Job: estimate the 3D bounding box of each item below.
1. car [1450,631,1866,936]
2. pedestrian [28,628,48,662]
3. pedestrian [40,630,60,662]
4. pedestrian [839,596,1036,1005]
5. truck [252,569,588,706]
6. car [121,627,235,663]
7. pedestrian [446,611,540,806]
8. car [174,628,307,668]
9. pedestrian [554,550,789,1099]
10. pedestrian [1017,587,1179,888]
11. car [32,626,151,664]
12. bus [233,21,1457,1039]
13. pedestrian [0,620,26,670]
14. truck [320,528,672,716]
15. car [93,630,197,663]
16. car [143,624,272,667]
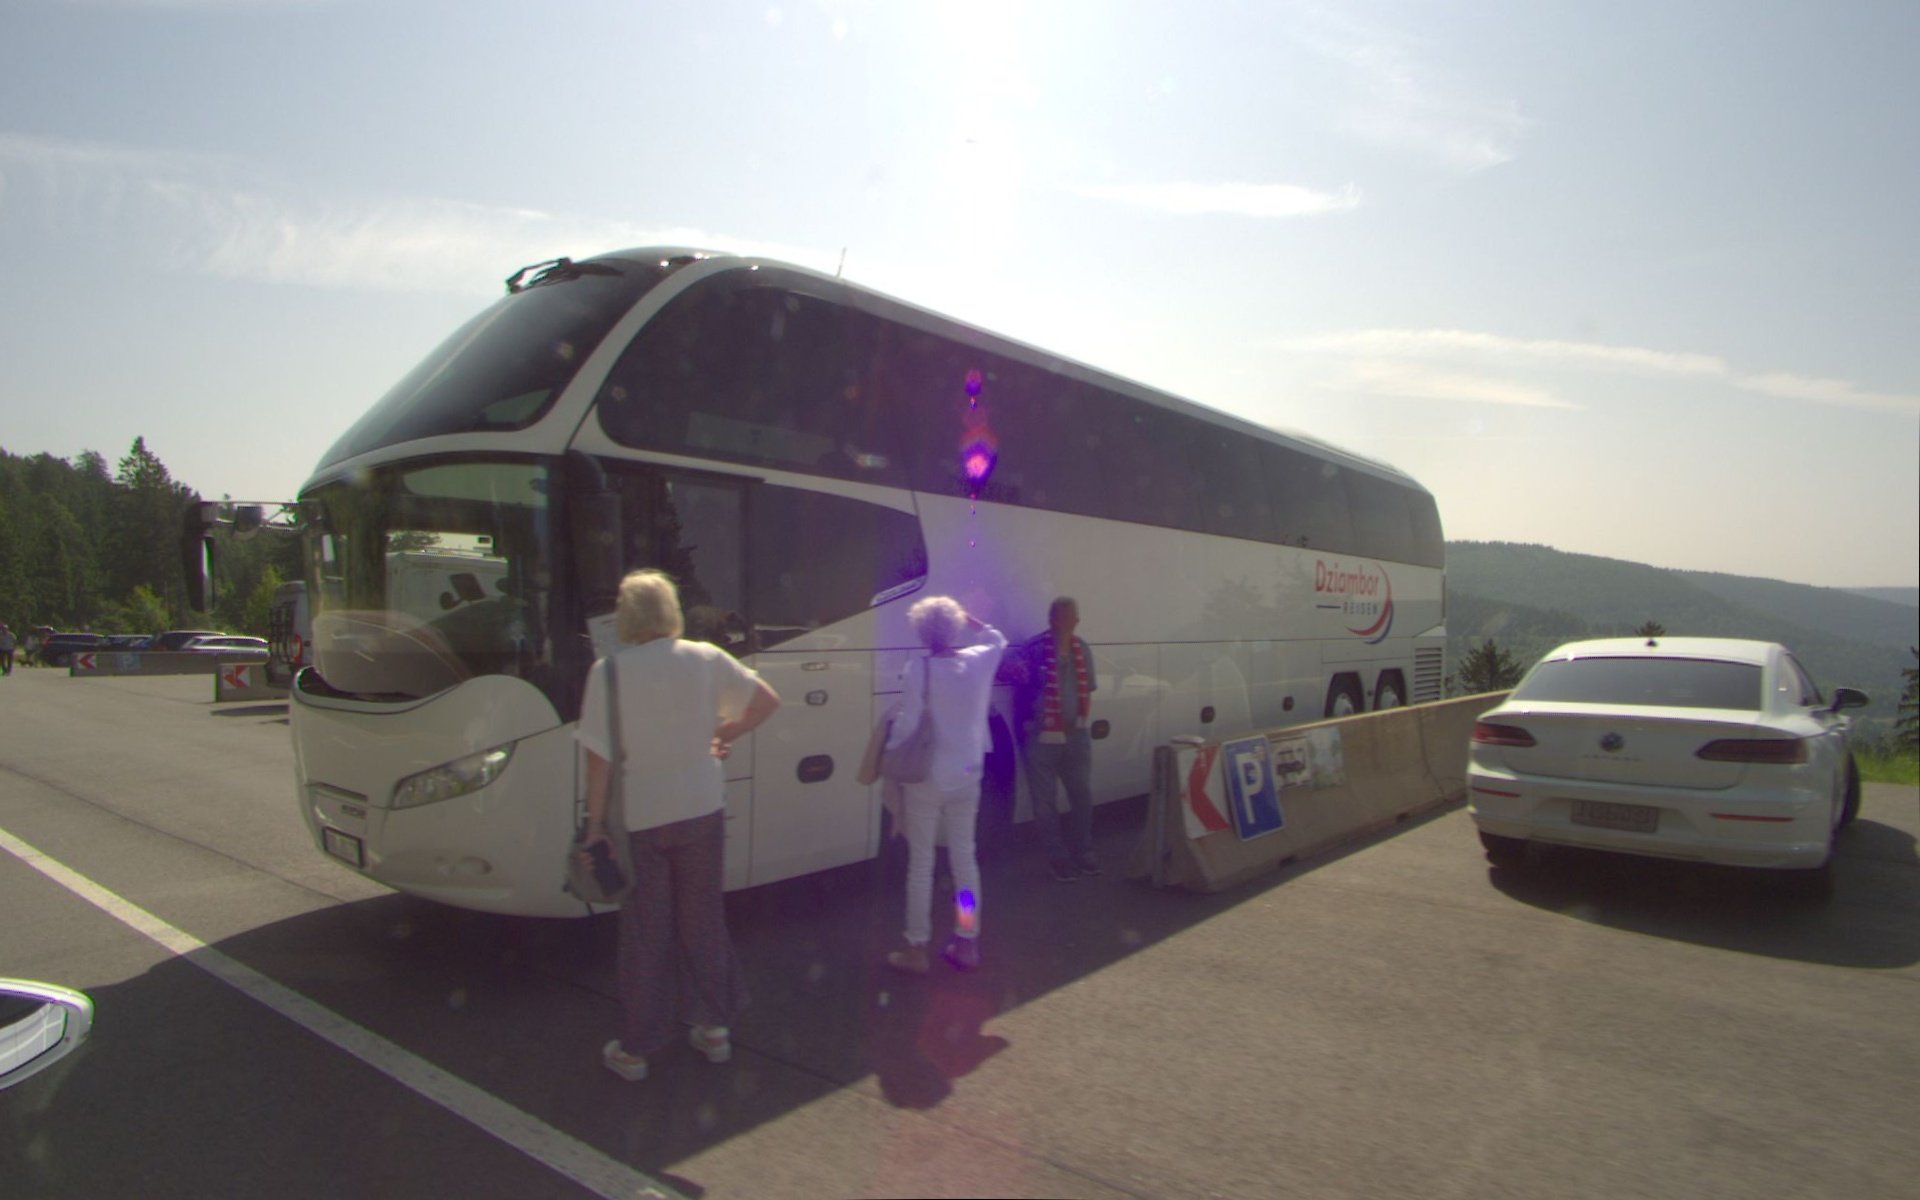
[{"bbox_3d":[5.000,0.934,6.873,1.700,1.414,4.399,-1,-2,44],"label":"car"},{"bbox_3d":[-47.426,2.317,51.513,0.646,1.682,0.682,-1,1,-36],"label":"pedestrian"},{"bbox_3d":[-46.450,2.340,51.125,0.610,1.608,0.731,0,1,-29],"label":"pedestrian"},{"bbox_3d":[-0.119,0.792,4.409,0.636,1.617,0.742,0,1,-23],"label":"pedestrian"},{"bbox_3d":[-11.803,0.775,22.391,2.313,2.624,6.231,0,-1,41],"label":"truck"},{"bbox_3d":[-37.526,2.158,48.138,1.783,1.556,3.974,3,0,37],"label":"car"},{"bbox_3d":[-4.002,0.889,8.574,0.624,1.587,0.623,0,0,-36],"label":"pedestrian"},{"bbox_3d":[-28.774,1.960,40.116,1.751,1.494,3.974,-1,-4,38],"label":"car"},{"bbox_3d":[-0.986,0.689,3.489,0.696,1.664,0.744,0,0,-15],"label":"pedestrian"},{"bbox_3d":[0.830,0.762,6.021,0.736,1.665,0.640,1,1,42],"label":"pedestrian"},{"bbox_3d":[-43.604,2.236,50.359,1.868,1.817,4.248,1,-1,38],"label":"car"},{"bbox_3d":[1.290,-0.152,9.318,2.807,3.624,12.783,-1,-1,41],"label":"bus"},{"bbox_3d":[-33.903,1.584,35.778,0.658,1.764,0.888,0,0,-35],"label":"pedestrian"},{"bbox_3d":[-9.148,0.443,20.350,2.501,3.237,6.040,-1,-1,38],"label":"truck"},{"bbox_3d":[-40.466,2.304,49.767,1.579,1.587,3.742,-1,-2,35],"label":"car"},{"bbox_3d":[-31.263,1.916,41.693,1.580,1.667,3.976,-1,-4,37],"label":"car"}]
